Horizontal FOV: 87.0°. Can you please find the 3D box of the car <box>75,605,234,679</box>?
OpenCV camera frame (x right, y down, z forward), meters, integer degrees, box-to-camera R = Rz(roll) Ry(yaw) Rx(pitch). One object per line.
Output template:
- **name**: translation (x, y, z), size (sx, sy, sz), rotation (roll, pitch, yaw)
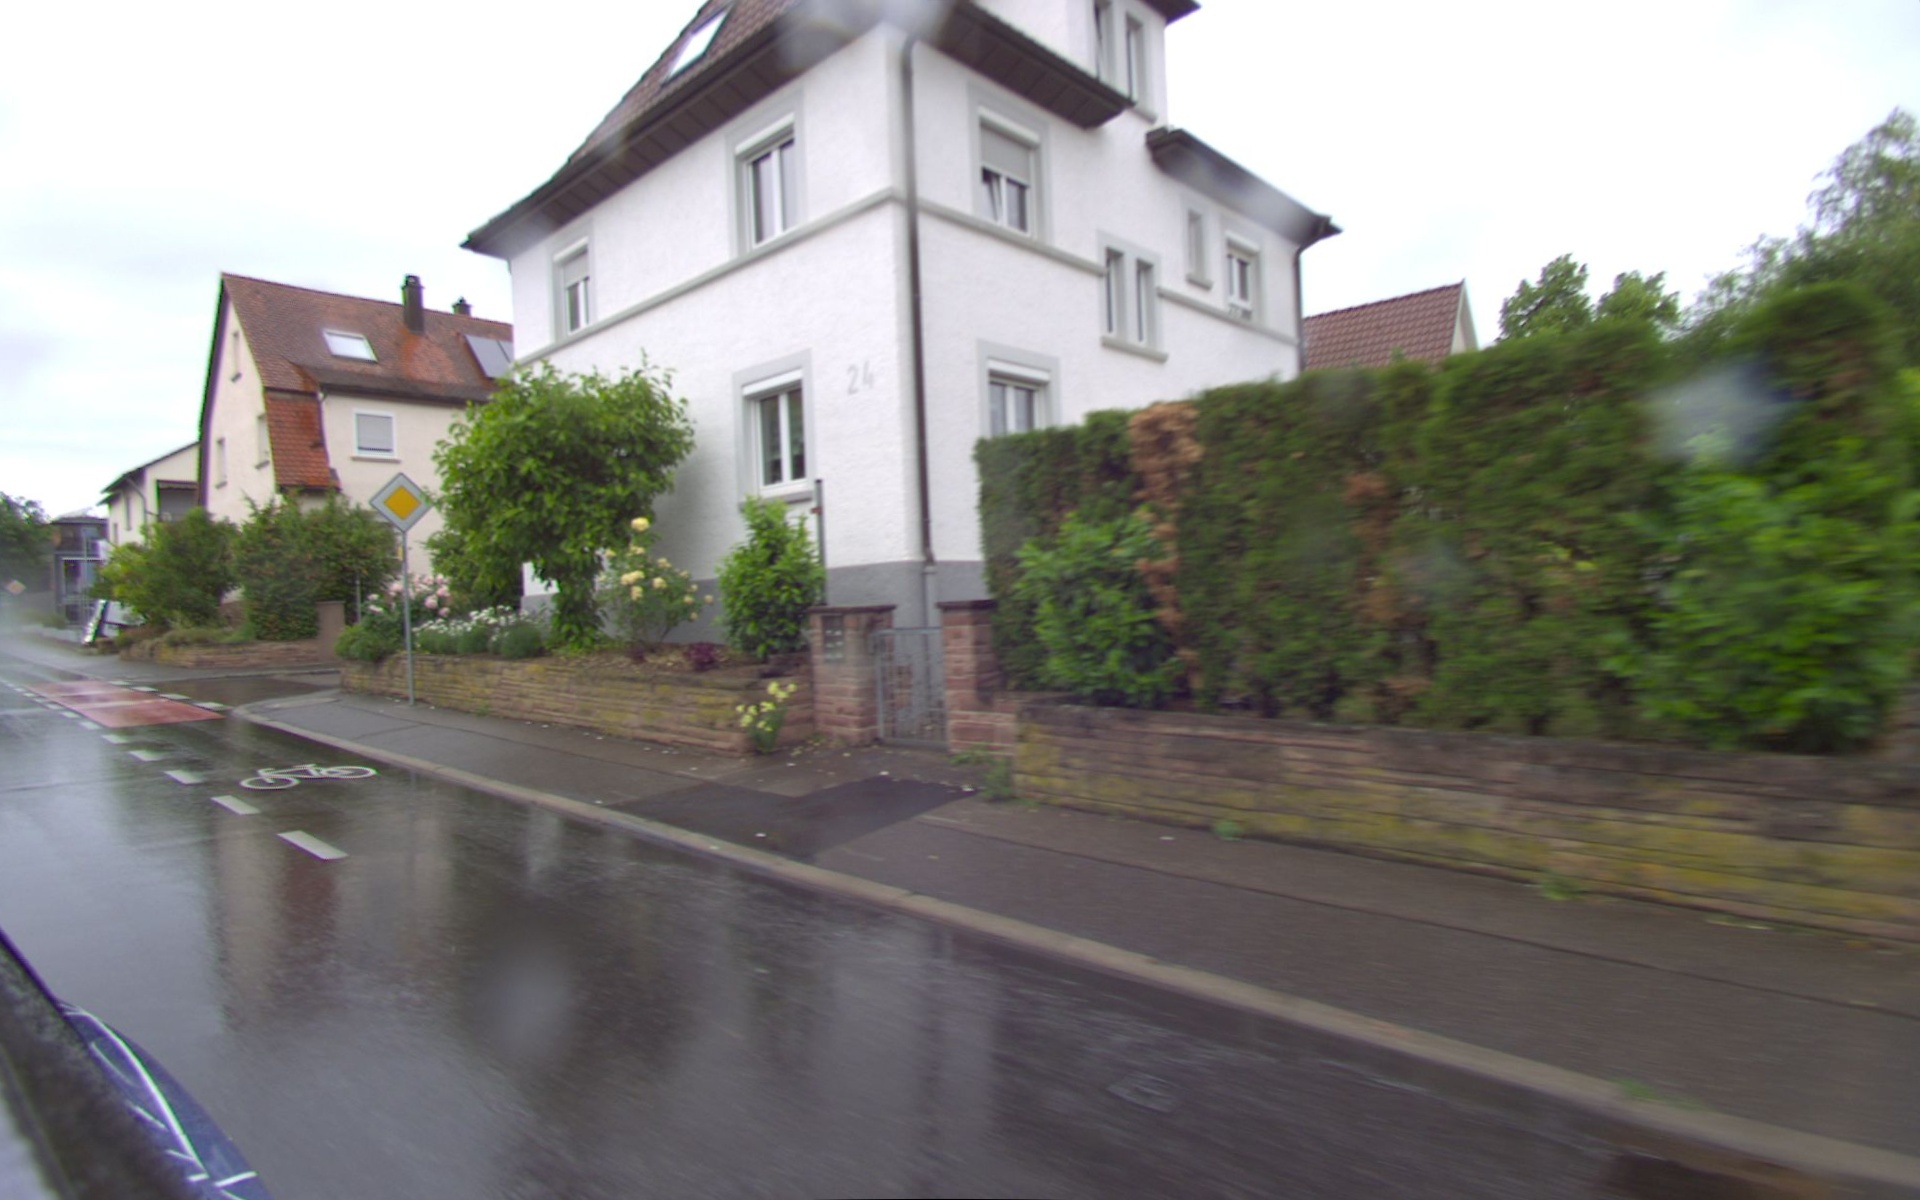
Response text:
- **car**: translation (-29.160, 1.572, 36.739), size (1.872, 1.990, 3.949), rotation (-2, -13, 39)
